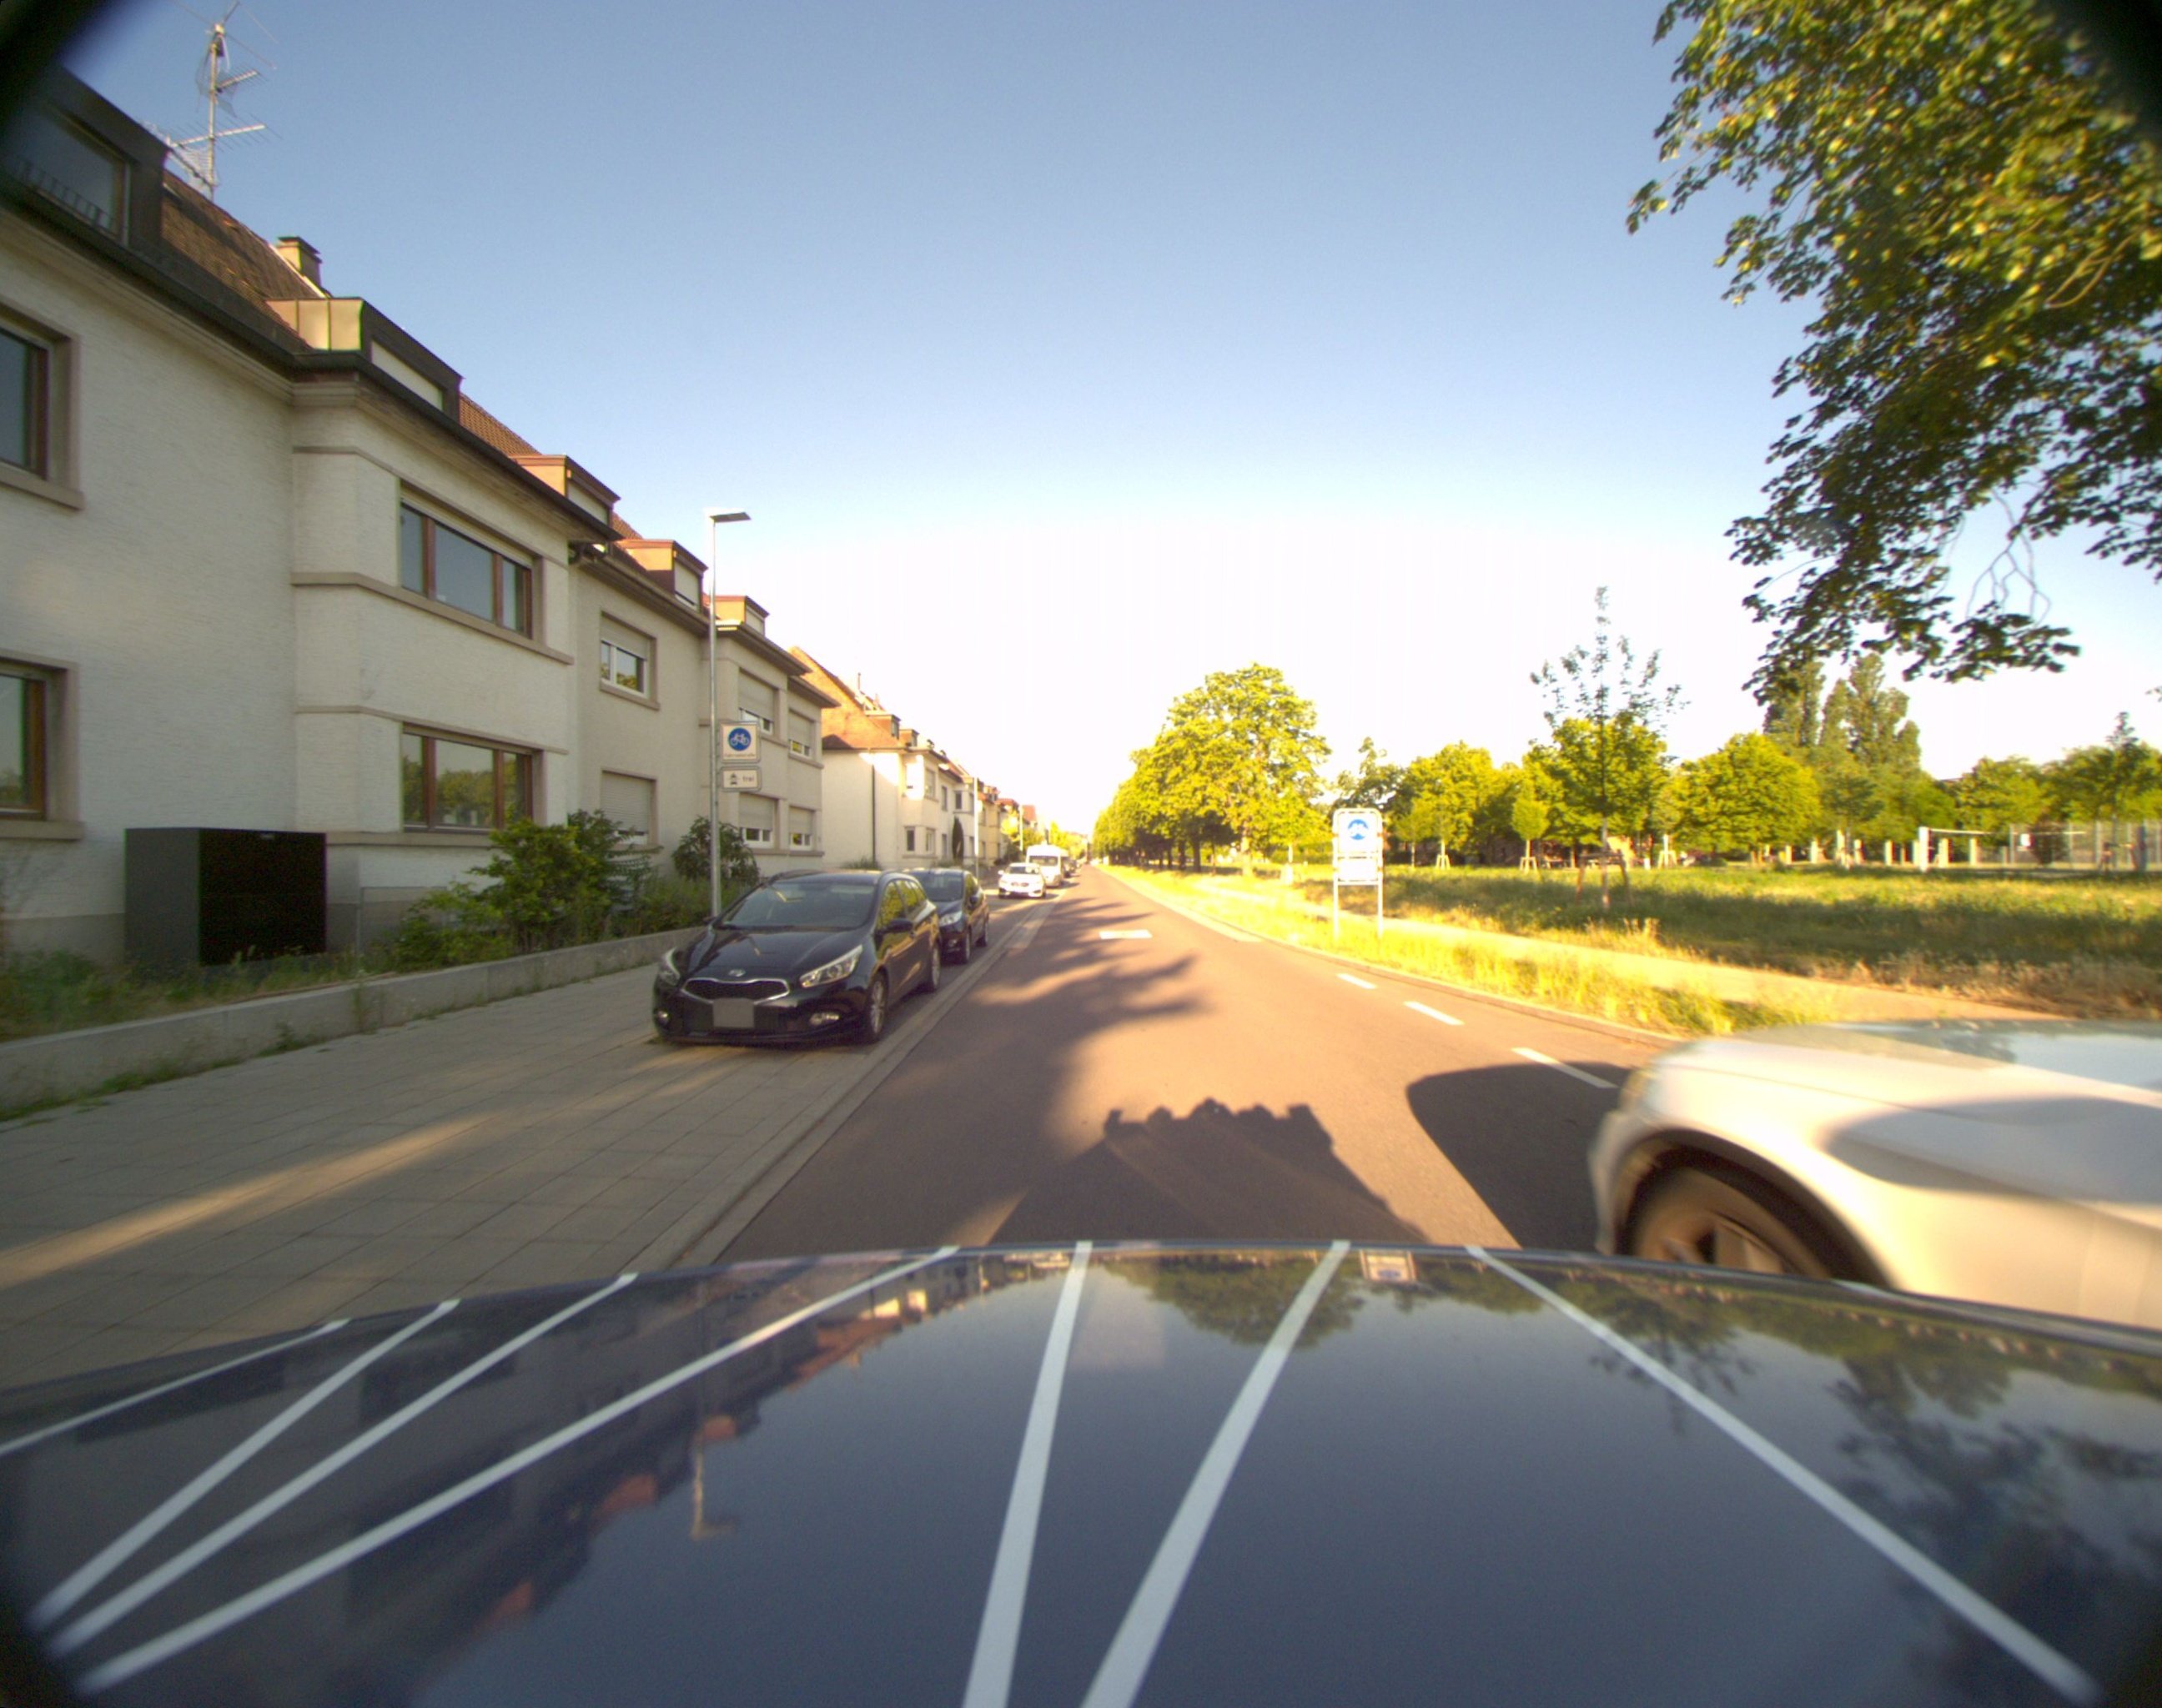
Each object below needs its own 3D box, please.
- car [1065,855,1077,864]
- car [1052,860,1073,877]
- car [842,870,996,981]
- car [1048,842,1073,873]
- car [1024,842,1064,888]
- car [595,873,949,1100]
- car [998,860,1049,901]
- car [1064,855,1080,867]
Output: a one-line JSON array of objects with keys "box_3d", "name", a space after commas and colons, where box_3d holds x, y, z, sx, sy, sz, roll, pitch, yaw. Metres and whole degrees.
[{"box_3d": [-1.885, 1.081, 142.145, 1.974, 1.630, 4.000, -1, 0, 1], "name": "car"}, {"box_3d": [-1.647, 1.270, 68.835, 1.629, 1.431, 4.005, 1, 0, 2], "name": "car"}, {"box_3d": [-2.537, 1.071, 12.859, 1.723, 1.463, 3.983, 2, 0, 0], "name": "car"}, {"box_3d": [-1.938, 0.364, 74.813, 2.134, 2.837, 5.987, -2, 0, 1], "name": "car"}, {"box_3d": [-2.094, 0.614, 44.653, 2.135, 2.503, 5.507, 0, 0, -1], "name": "car"}, {"box_3d": [-2.554, 0.991, 7.501, 1.751, 1.466, 4.255, 1, 0, 0], "name": "car"}, {"box_3d": [-2.332, 1.056, 31.970, 1.787, 1.498, 4.233, 2, 0, 0], "name": "car"}, {"box_3d": [-1.176, 0.912, 101.952, 1.974, 1.630, 4.000, 1, 0, 1], "name": "car"}]
